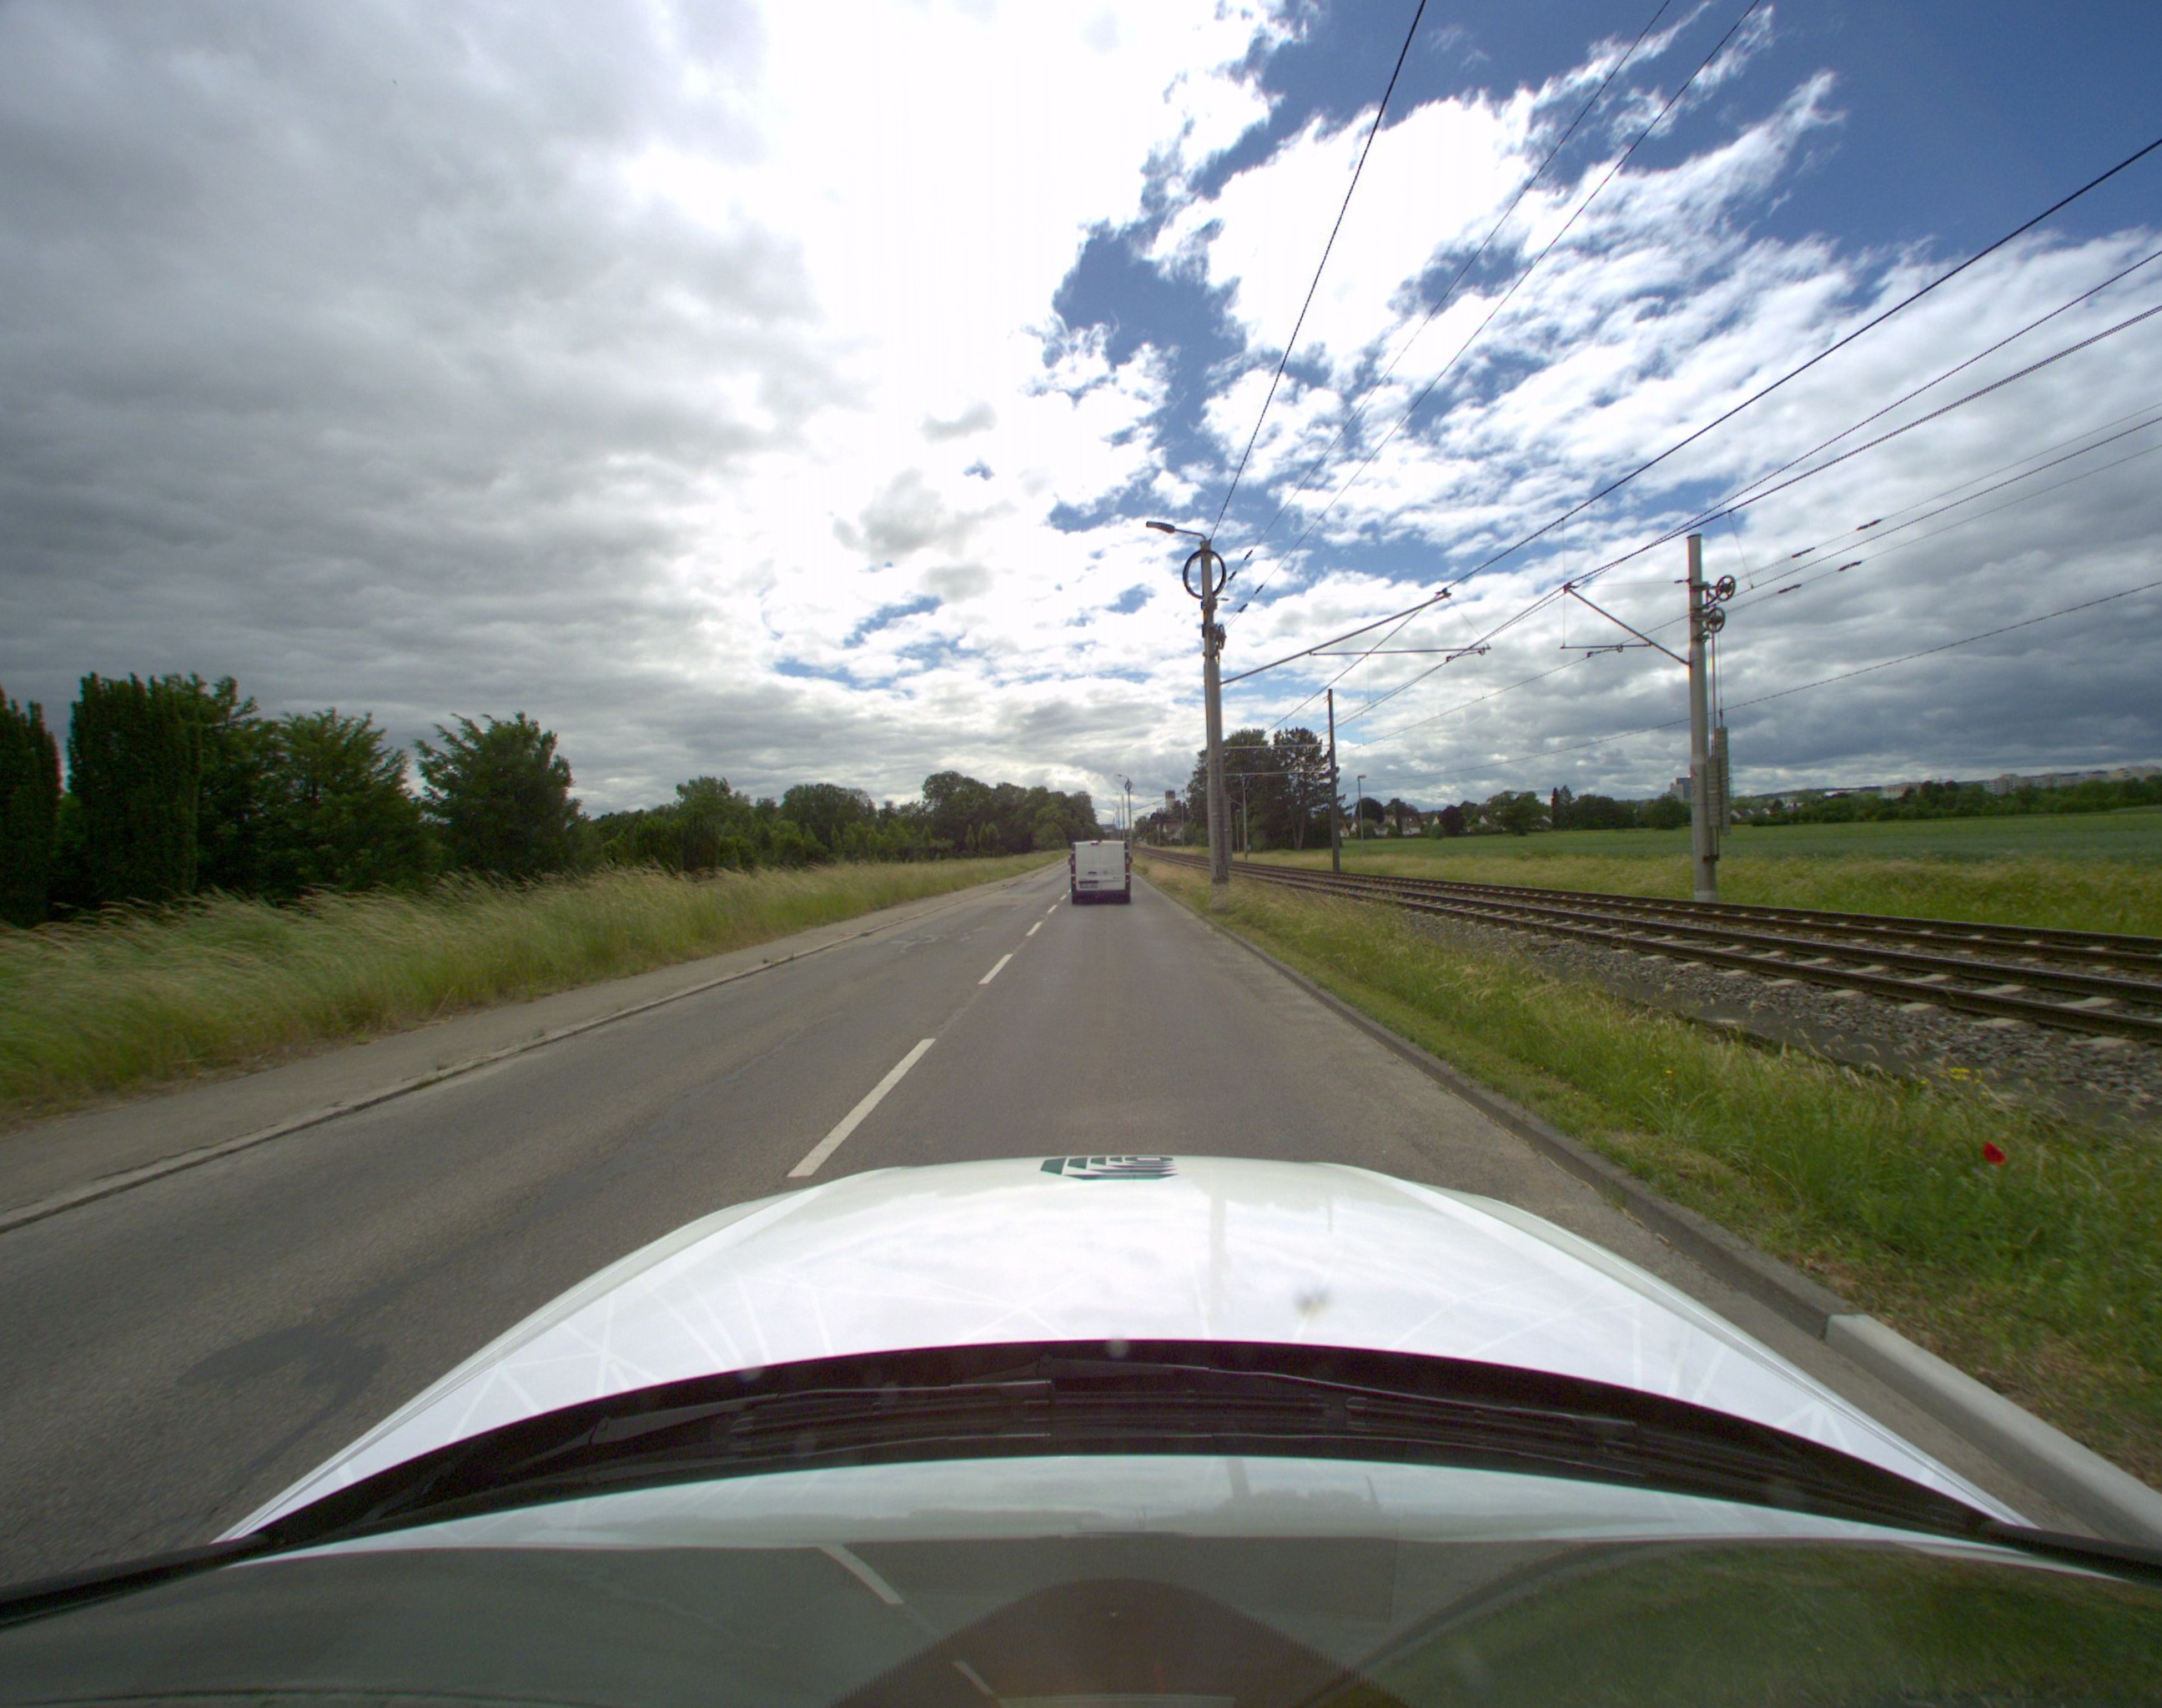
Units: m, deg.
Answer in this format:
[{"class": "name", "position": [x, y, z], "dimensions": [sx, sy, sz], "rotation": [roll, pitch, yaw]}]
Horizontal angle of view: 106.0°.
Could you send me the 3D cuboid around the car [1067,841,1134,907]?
[{"class": "car", "position": [0.619, 0.600, 26.575], "dimensions": [1.987, 1.957, 4.000], "rotation": [-1, 0, 0]}]
